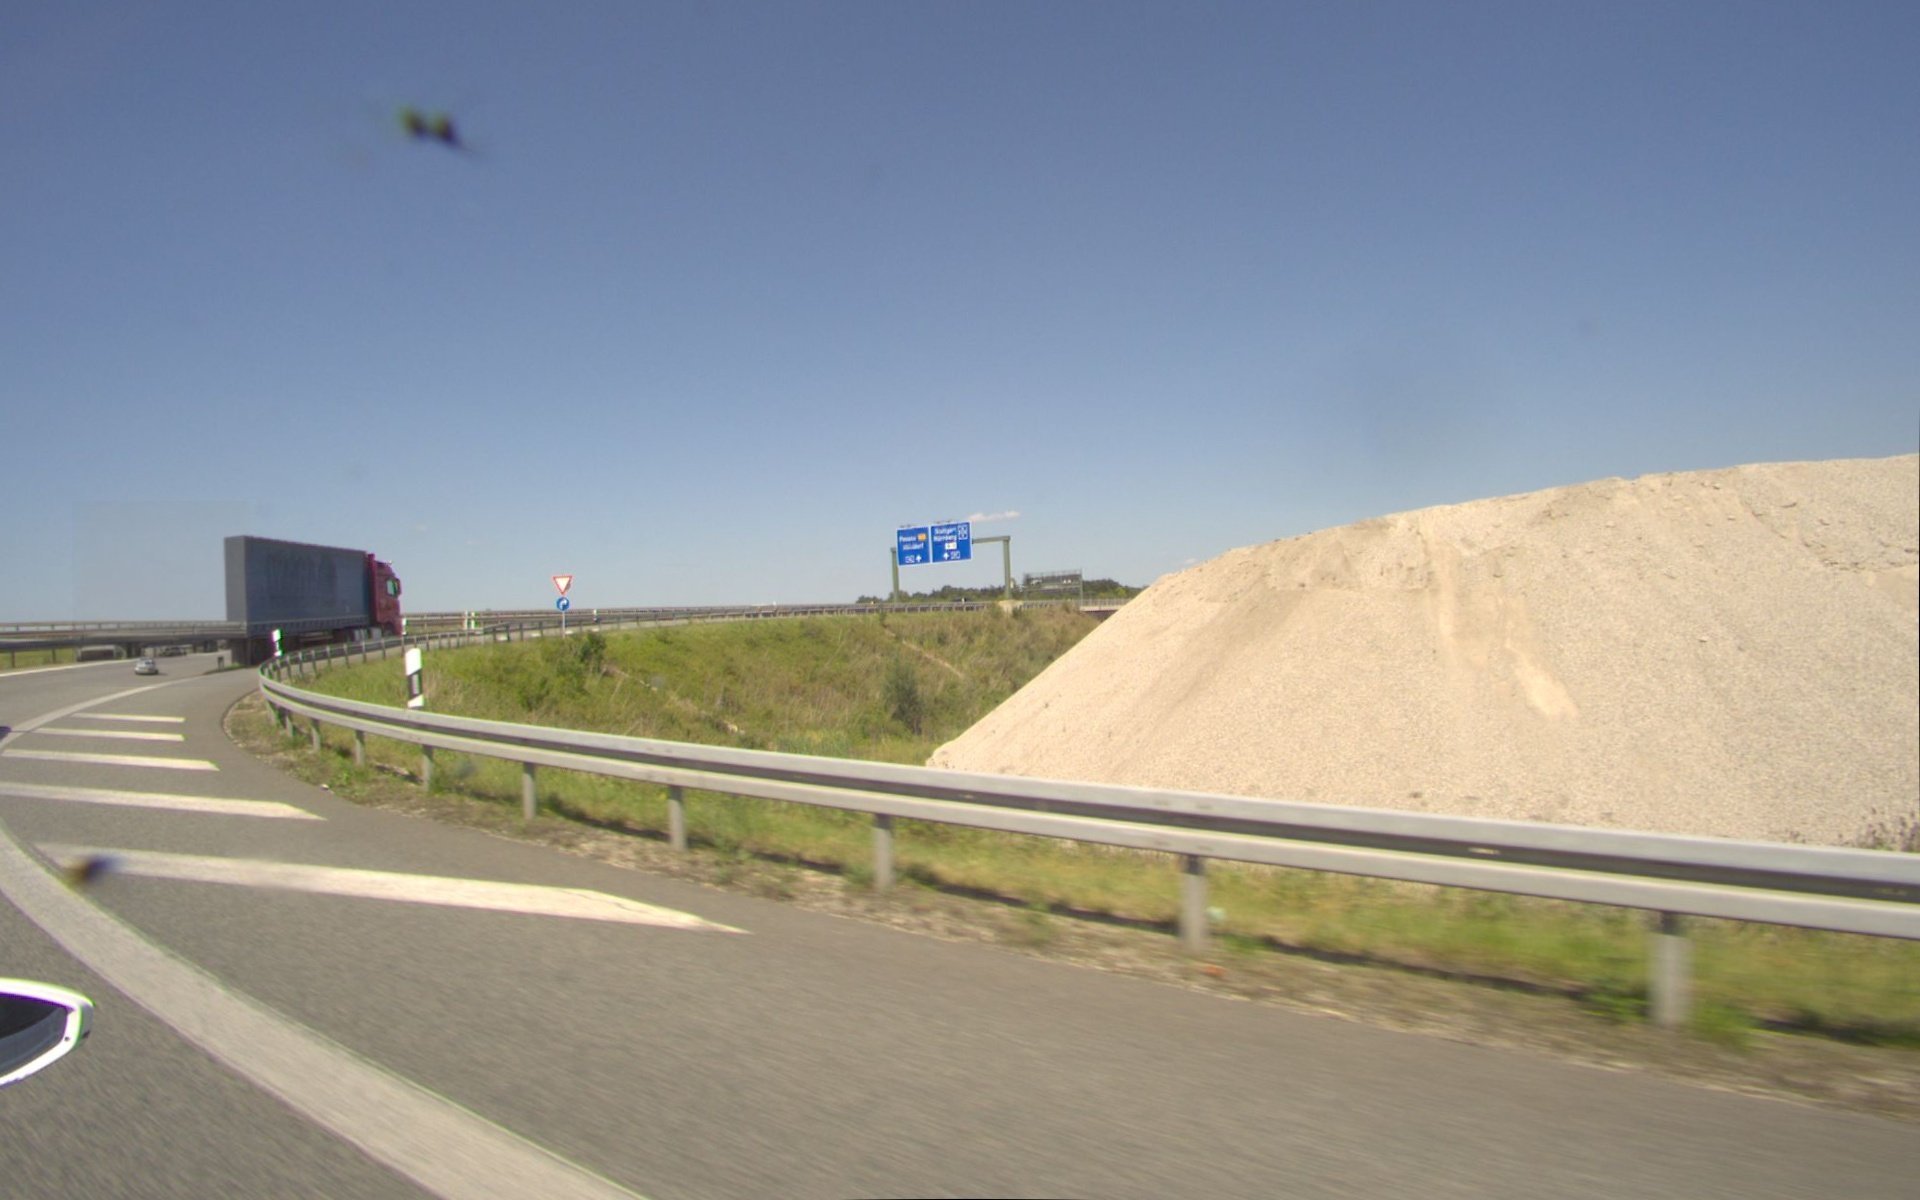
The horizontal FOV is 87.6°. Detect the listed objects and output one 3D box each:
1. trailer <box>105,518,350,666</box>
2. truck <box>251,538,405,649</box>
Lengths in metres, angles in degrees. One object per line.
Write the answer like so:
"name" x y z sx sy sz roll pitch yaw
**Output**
"trailer" -24.281 -0.102 34.184 2.869 4.199 11.243 0 -1 -15
"truck" -25.903 -0.171 41.500 2.866 4.199 6.923 0 -1 -9
